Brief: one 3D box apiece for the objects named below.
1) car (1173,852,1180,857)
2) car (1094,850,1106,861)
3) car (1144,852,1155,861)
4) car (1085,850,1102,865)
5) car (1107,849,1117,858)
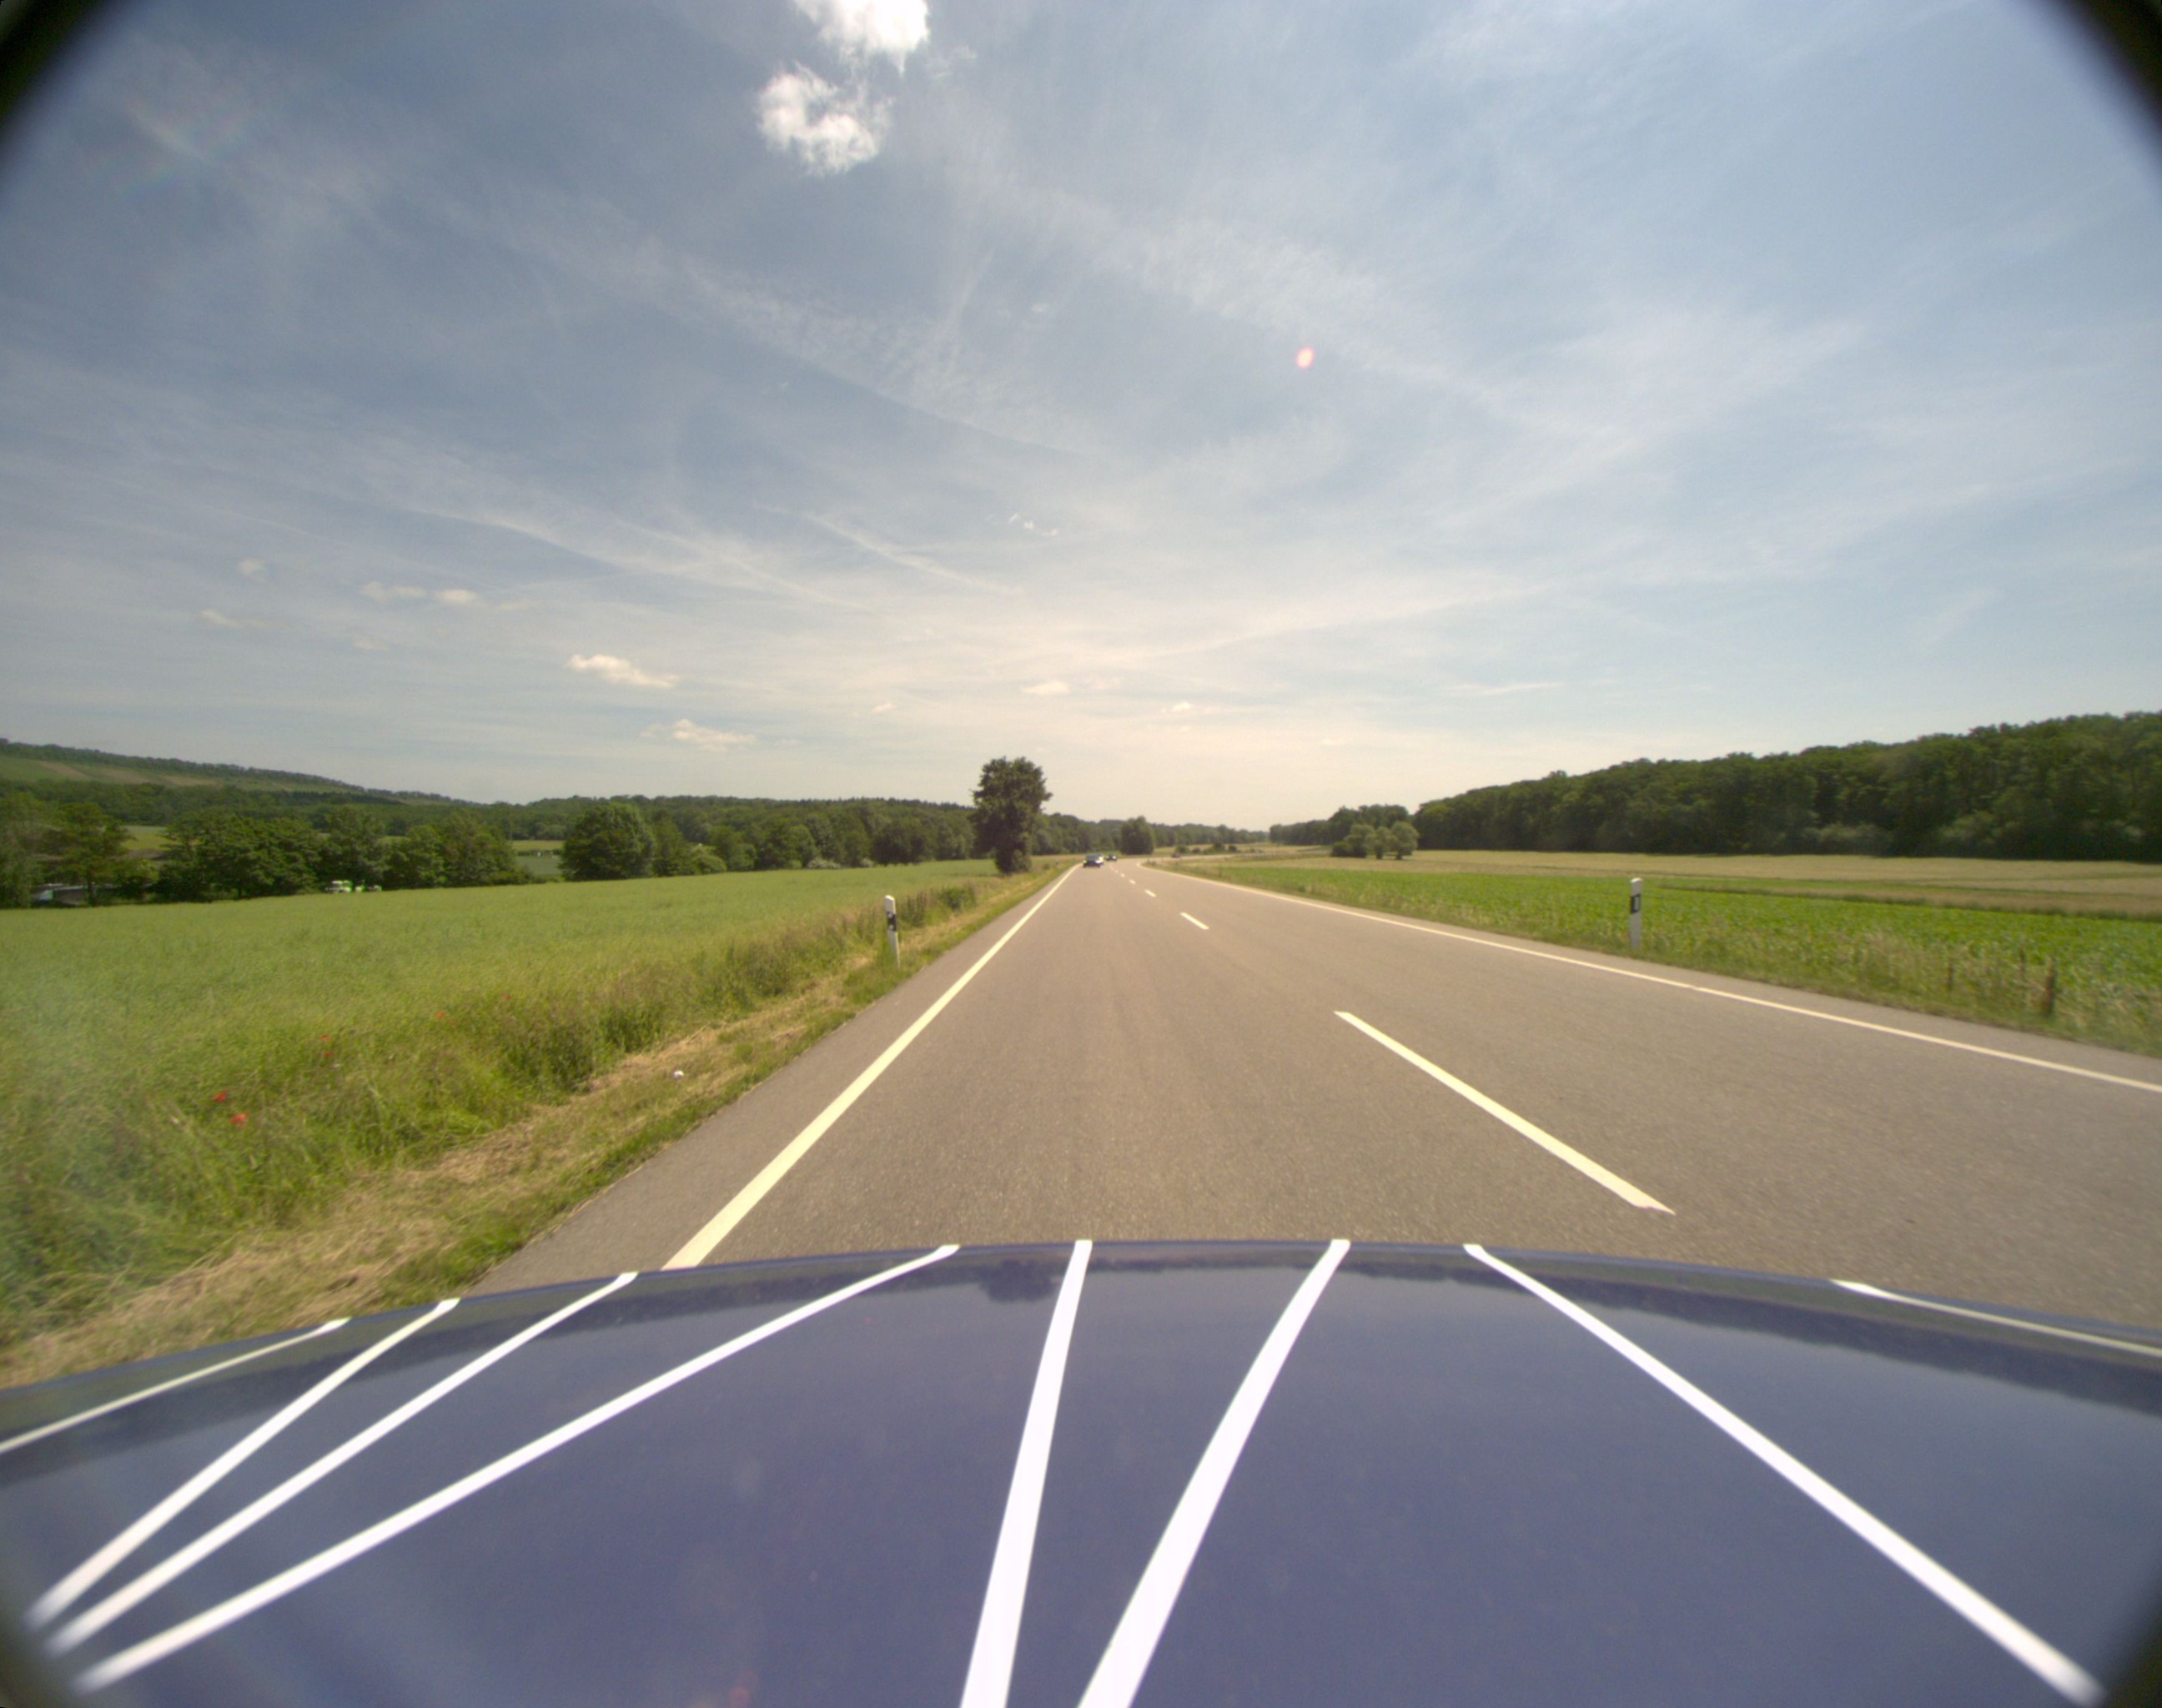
[{"bbox_3d":[28.080,0.059,223.029,1.620,1.428,3.446,-2,1,16],"label":"car"},{"bbox_3d":[2.496,0.201,101.027,1.621,1.428,3.443,1,1,1],"label":"car"},{"bbox_3d":[12.906,0.487,142.986,1.666,1.543,3.601,0,0,1],"label":"car"},{"bbox_3d":[1.318,0.333,78.578,1.621,1.428,3.442,1,1,1],"label":"car"},{"bbox_3d":[5.668,-0.115,138.883,1.621,1.429,3.442,1,2,1],"label":"car"}]
